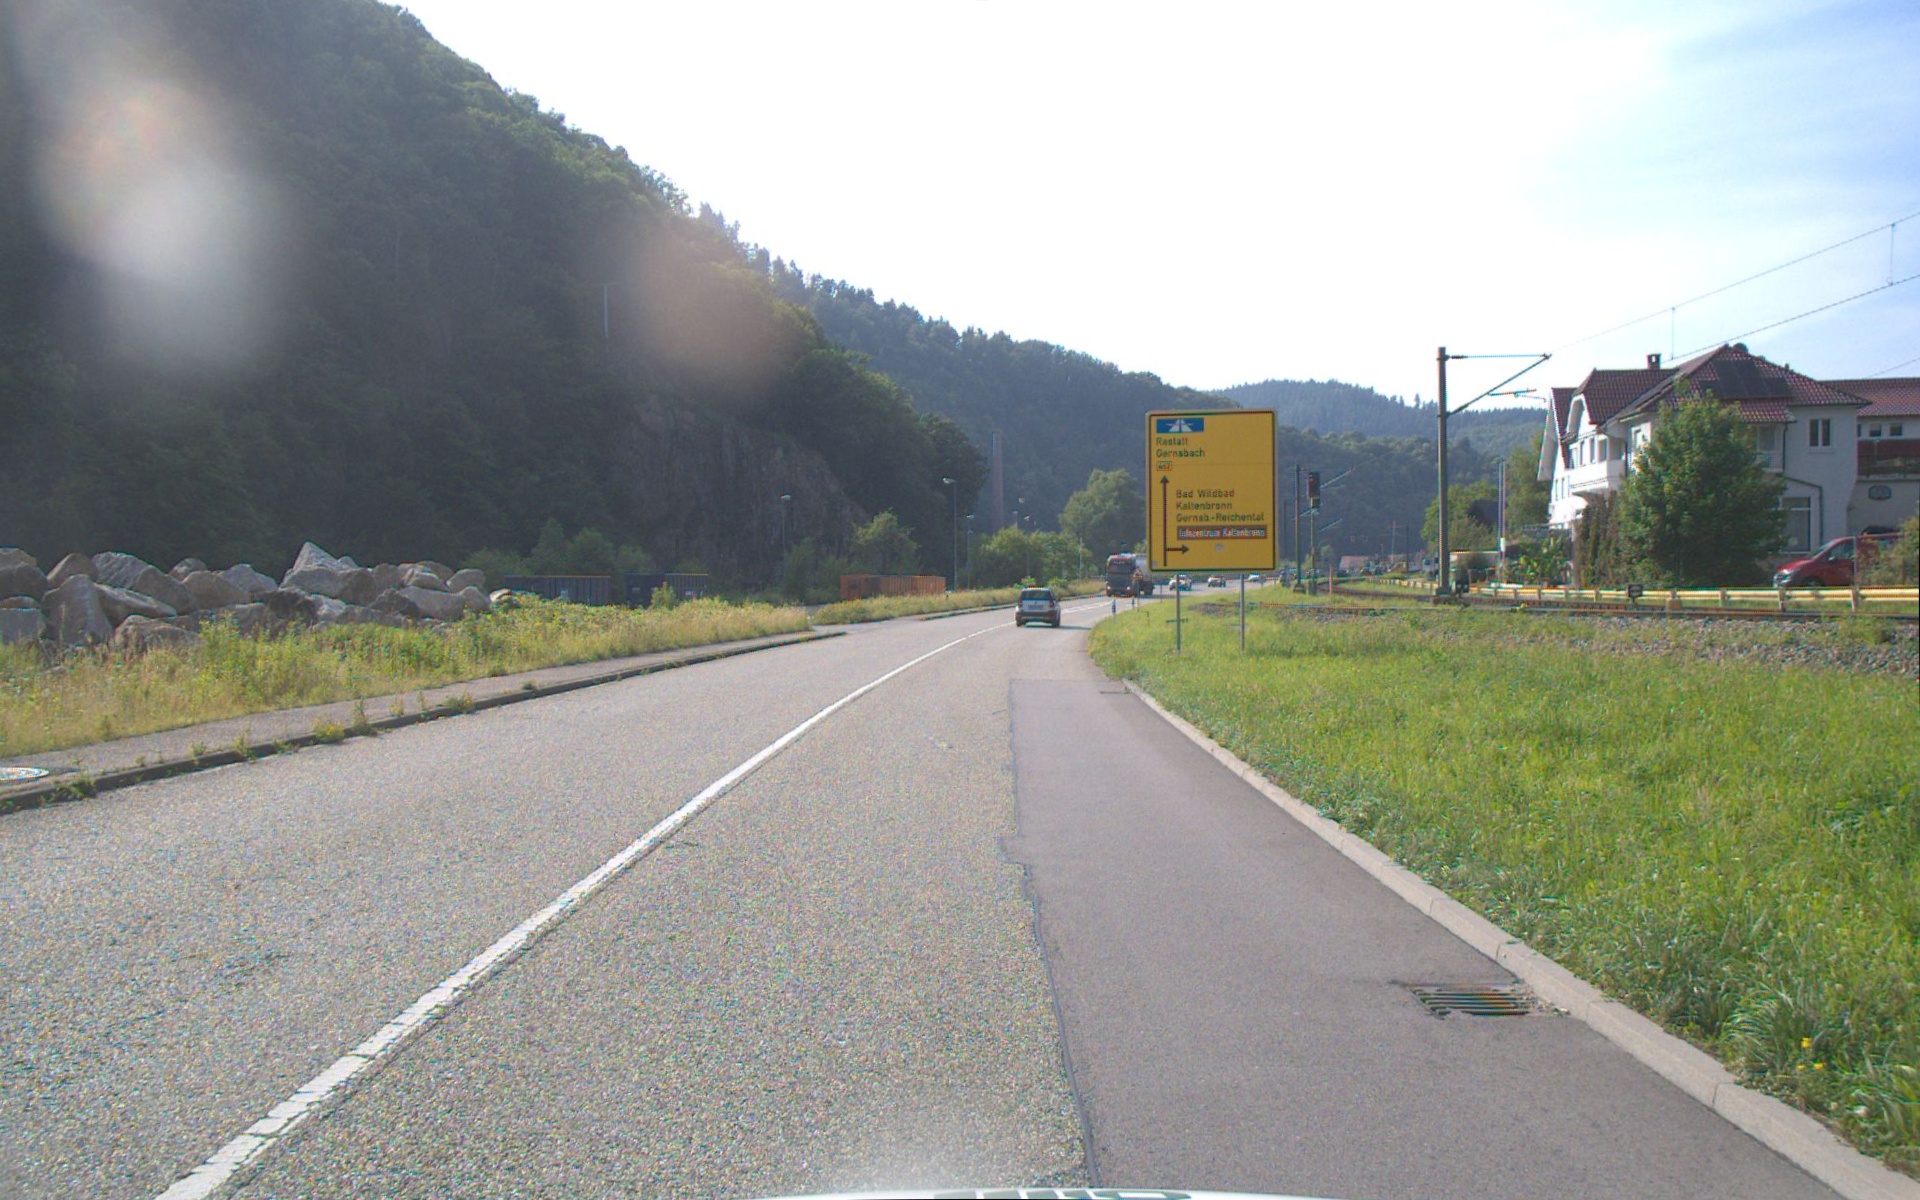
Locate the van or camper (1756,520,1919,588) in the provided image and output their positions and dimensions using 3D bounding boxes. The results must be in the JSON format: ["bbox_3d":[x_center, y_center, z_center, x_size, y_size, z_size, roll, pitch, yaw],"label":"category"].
[{"bbox_3d":[28.815,-1.485,53.249,5.301,1.962,2.123,-3,0,10],"label":"van or camper"}]

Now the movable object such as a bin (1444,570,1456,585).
[{"bbox_3d":[36.707,-1.688,123.963,0.790,1.068,0.913,1,2,13],"label":"movable object such as a bin"}]

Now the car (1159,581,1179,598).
[{"bbox_3d":[23.439,-1.168,185.142,1.951,1.789,4.473,1,1,10],"label":"car"}]

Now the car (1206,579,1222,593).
[{"bbox_3d":[31.303,-1.727,203.518,1.687,1.653,3.800,1,1,13],"label":"car"}]

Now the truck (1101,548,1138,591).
[{"bbox_3d":[14.959,-2.860,154.839,2.691,3.902,8.206,1,1,11],"label":"truck"}]

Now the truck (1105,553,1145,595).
[{"bbox_3d":[16.221,-2.573,161.580,2.691,3.902,14.575,1,1,10],"label":"truck"}]

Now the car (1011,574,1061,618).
[{"bbox_3d":[3.308,-0.179,71.454,1.952,1.753,3.992,-3,0,5],"label":"car"}]
